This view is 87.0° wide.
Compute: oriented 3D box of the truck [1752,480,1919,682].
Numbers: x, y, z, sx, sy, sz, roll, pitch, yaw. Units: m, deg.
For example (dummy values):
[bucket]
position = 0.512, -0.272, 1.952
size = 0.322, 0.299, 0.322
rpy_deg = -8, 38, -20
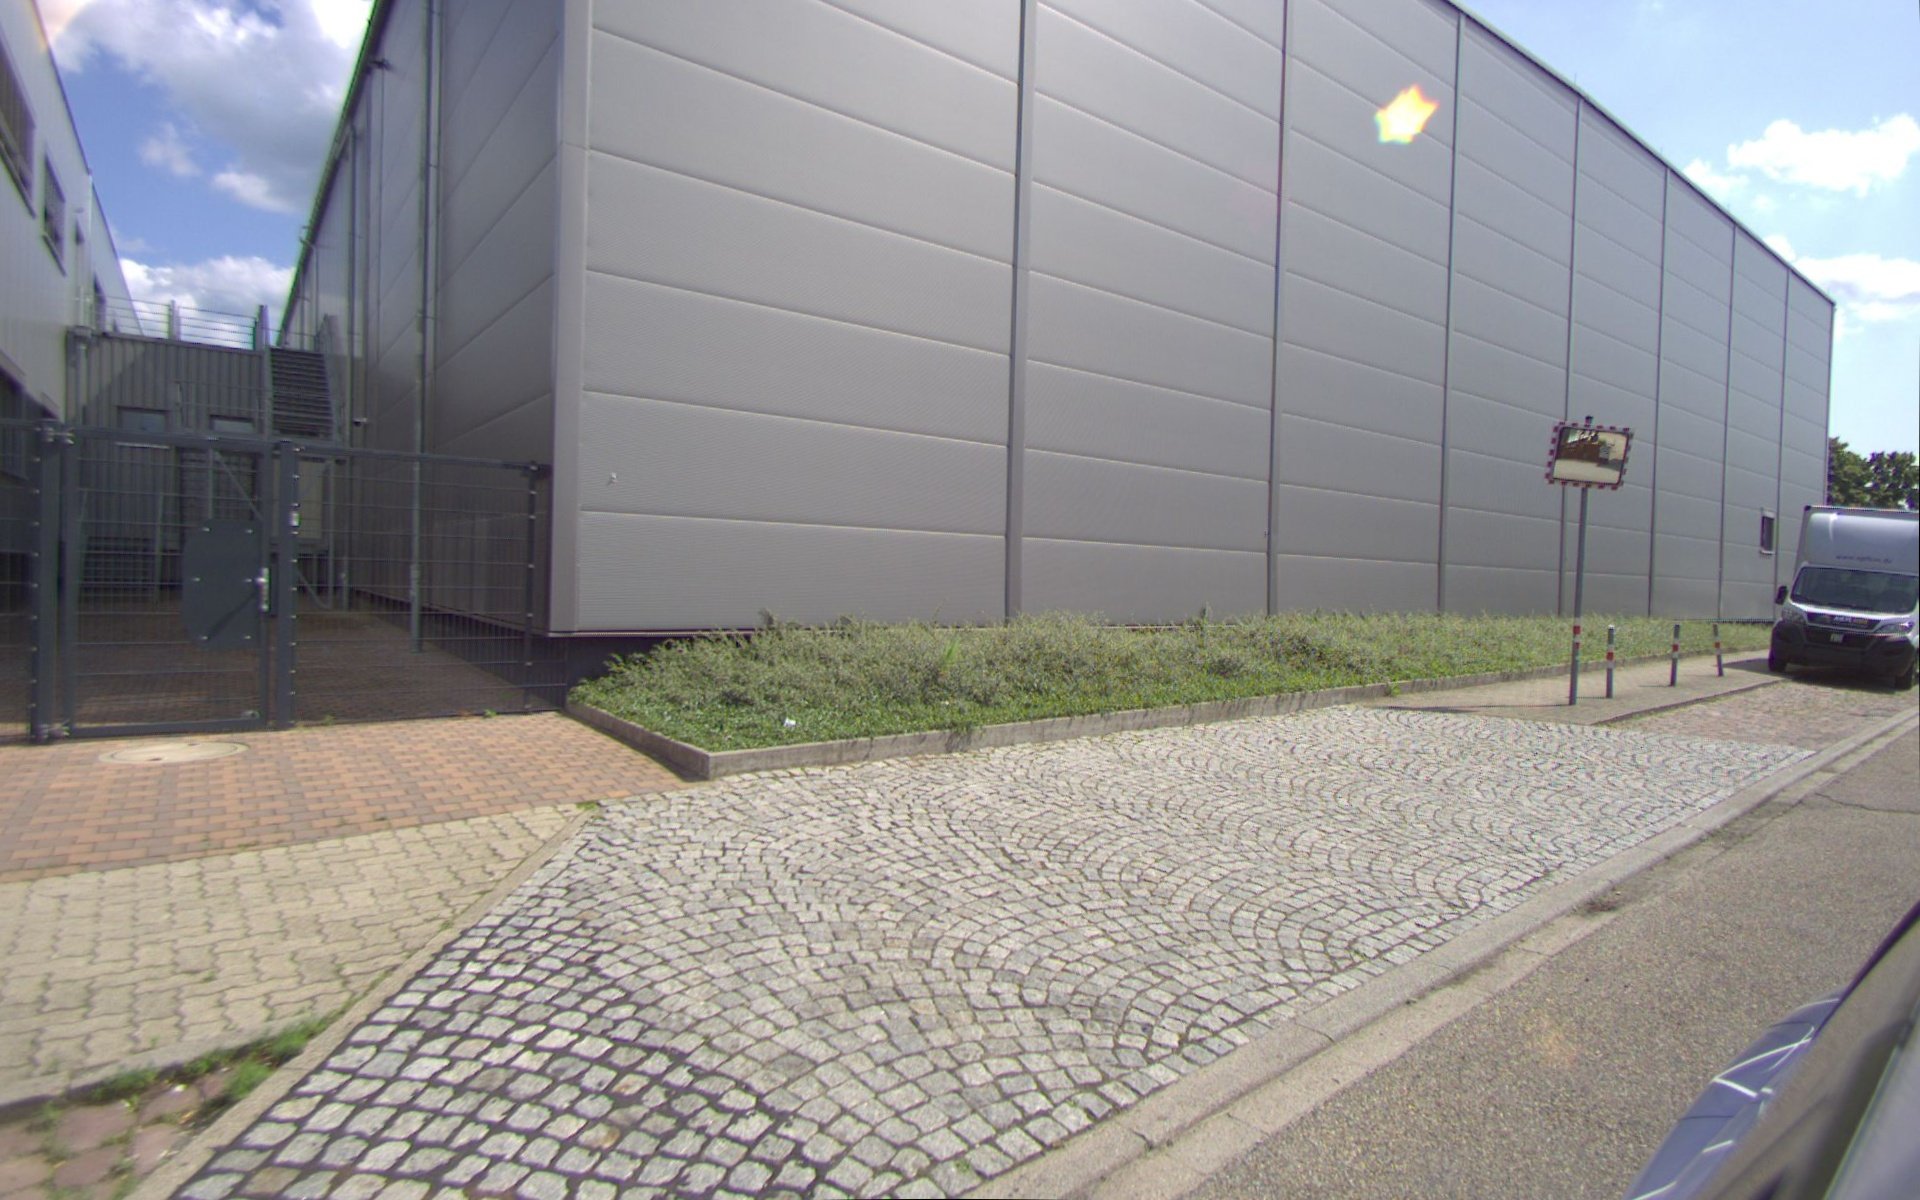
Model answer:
[truck]
position = 18.232, -0.410, 19.972
size = 6.697, 3.331, 2.466
rpy_deg = 0, 7, -40
